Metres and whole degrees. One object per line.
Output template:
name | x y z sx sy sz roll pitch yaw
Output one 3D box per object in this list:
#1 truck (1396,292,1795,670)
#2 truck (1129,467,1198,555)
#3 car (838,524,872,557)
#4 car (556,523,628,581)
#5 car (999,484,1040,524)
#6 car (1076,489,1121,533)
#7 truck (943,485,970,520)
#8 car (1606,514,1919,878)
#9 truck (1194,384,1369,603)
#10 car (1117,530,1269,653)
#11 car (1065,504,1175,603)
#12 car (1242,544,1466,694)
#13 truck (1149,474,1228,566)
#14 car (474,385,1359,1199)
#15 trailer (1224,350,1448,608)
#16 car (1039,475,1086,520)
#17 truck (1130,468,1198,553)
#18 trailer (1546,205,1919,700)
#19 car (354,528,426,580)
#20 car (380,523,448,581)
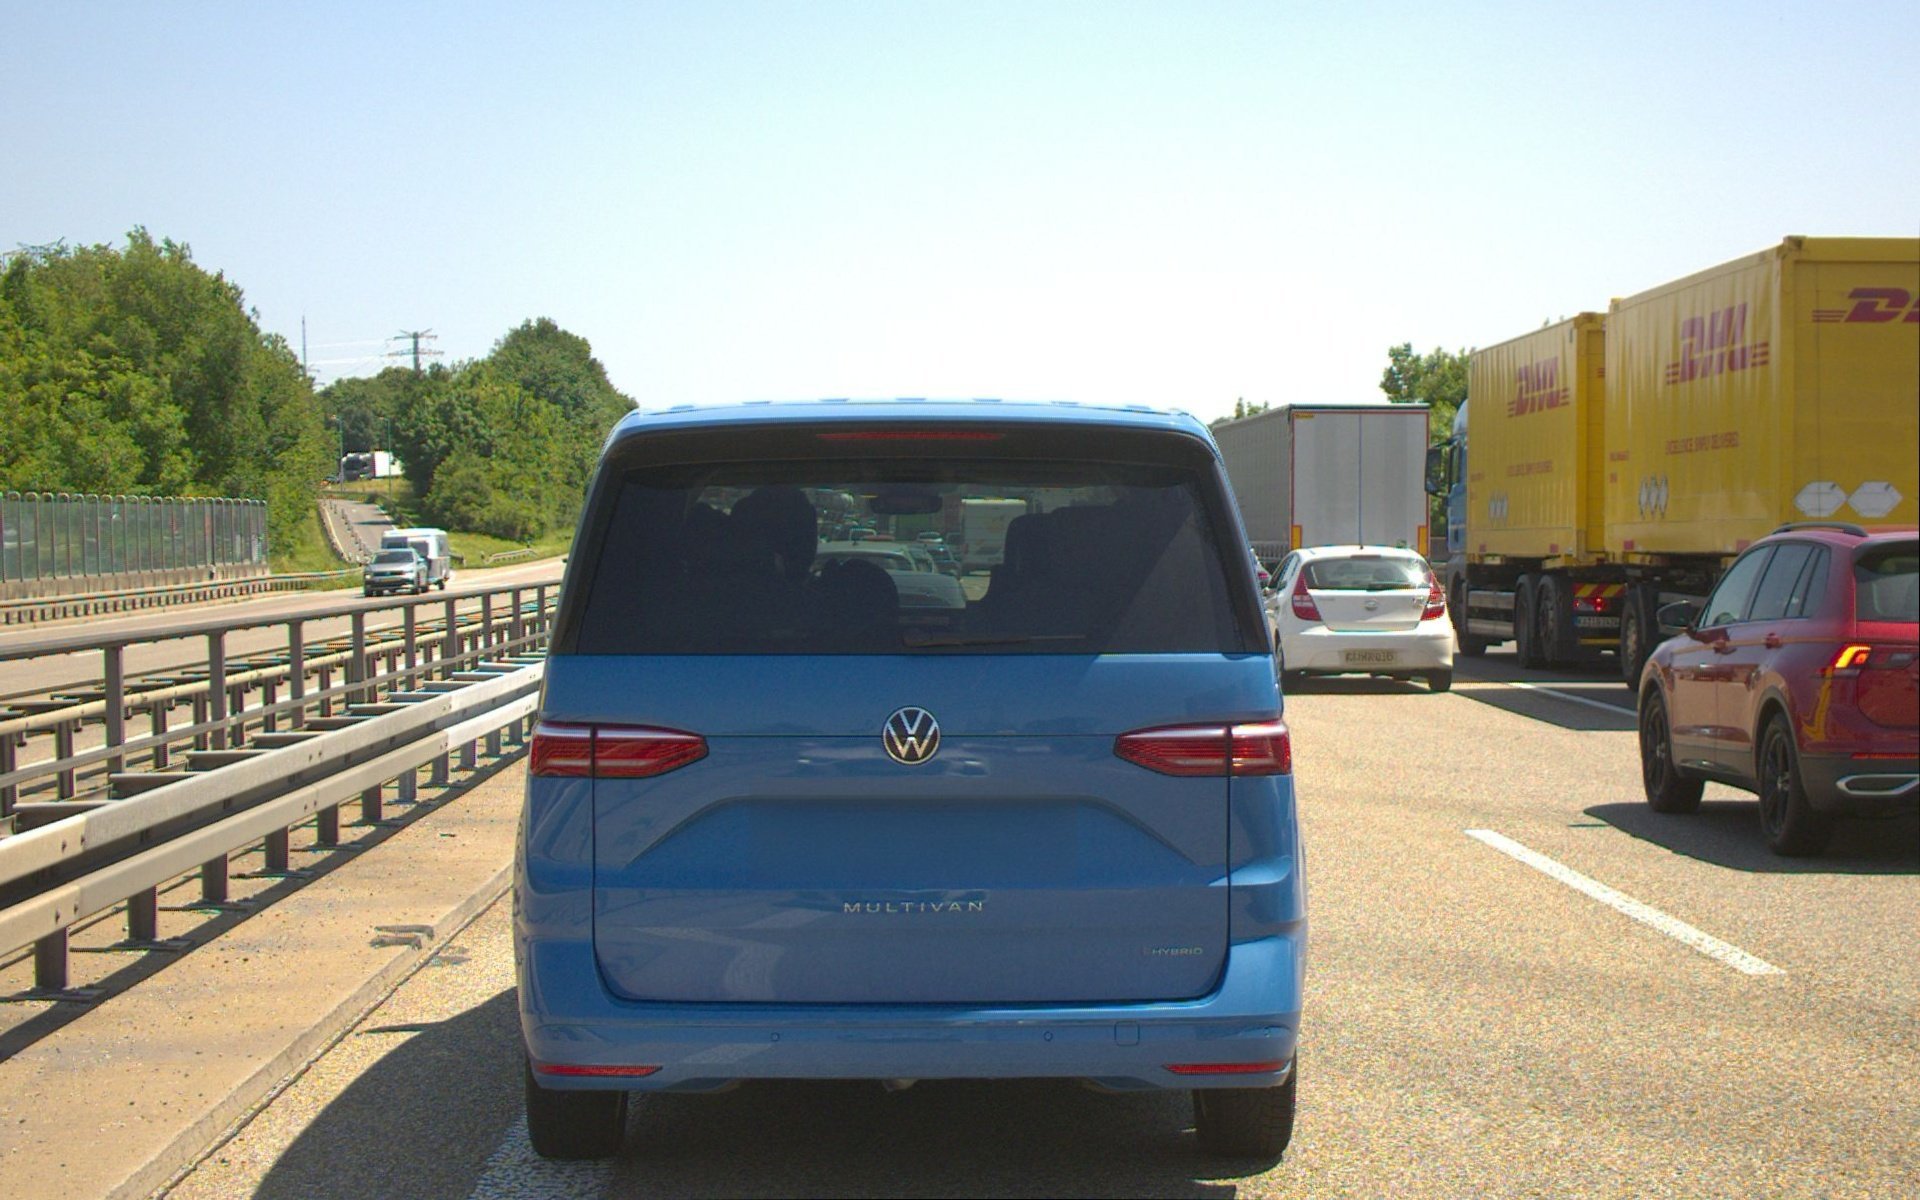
truck | 7.540 -1.334 42.312 2.699 4.074 9.941 1 0 -2
truck | 6.062 -2.648 102.899 1.742 2.540 4.210 1 0 -1
car | -6.476 -3.642 211.576 1.993 2.007 4.000 1 0 -1
car | -11.447 -1.487 107.100 1.842 1.745 3.943 1 0 -1
car | 3.085 -4.966 178.292 1.993 2.007 4.000 1 0 -1
car | 5.653 -3.619 140.318 1.597 1.745 3.943 1 0 -1
truck | -0.252 -7.364 260.317 1.993 2.576 4.553 1 0 -1
car | 4.739 0.403 17.997 1.708 1.673 4.285 1 1 -3
truck | 7.065 -2.280 76.643 3.026 4.595 7.921 1 0 -1
car | 3.301 -0.134 49.288 1.815 1.673 3.932 1 0 -1
car | 3.223 -0.926 69.782 1.962 1.929 3.932 1 0 -1
car | 4.064 0.169 35.996 1.815 1.465 3.932 1 0 -1
truck | 6.236 -2.153 94.181 1.798 2.441 4.504 1 0 -1
car | -0.128 0.455 9.583 1.930 1.867 4.000 1 0 -1
trailer | 7.168 -2.217 67.204 3.026 4.595 10.925 1 0 -1
car | 4.730 -4.733 159.179 1.993 2.007 4.000 1 0 -1
truck | 6.404 -2.796 108.189 1.797 2.587 4.306 1 0 -1
trailer | 7.910 -1.248 32.889 2.682 4.074 8.981 1 0 -2
car | -19.561 -1.580 118.133 1.842 1.745 3.943 1 0 -1
car | -19.710 -1.739 124.248 1.842 2.035 3.943 1 0 -1
